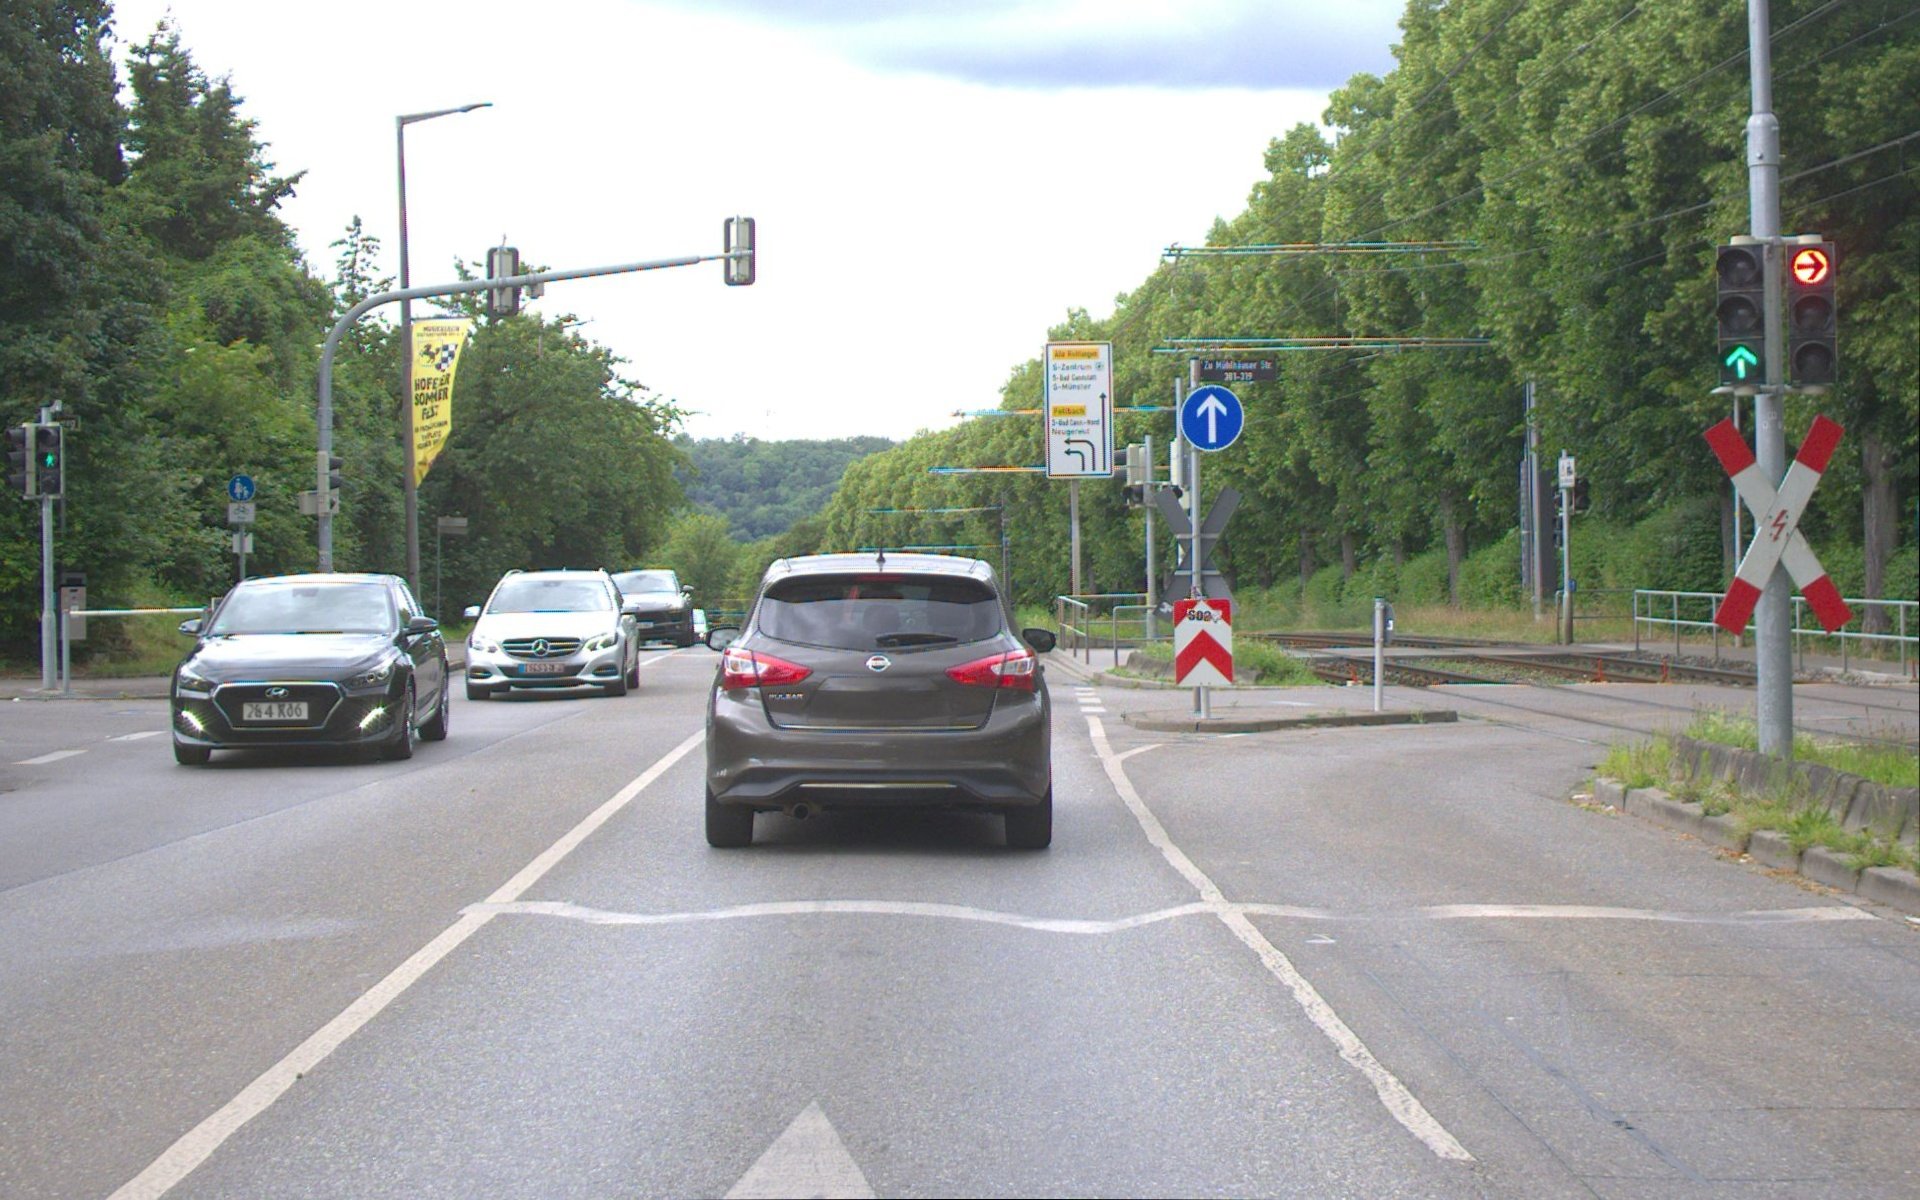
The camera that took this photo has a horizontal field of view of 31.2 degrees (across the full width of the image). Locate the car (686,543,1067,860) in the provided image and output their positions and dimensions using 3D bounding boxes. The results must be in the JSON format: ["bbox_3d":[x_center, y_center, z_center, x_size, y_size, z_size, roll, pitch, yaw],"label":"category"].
[{"bbox_3d":[-0.426,0.458,19.020,1.835,1.514,4.483,1,1,0],"label":"car"}]

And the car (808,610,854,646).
[{"bbox_3d":[-5.091,1.089,135.044,1.741,1.305,4.001,2,1,-2],"label":"car"}]

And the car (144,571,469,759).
[{"bbox_3d":[-5.123,0.461,27.458,1.812,1.368,4.160,0,1,0],"label":"car"}]

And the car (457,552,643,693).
[{"bbox_3d":[-4.853,0.216,41.312,1.818,1.561,5.206,1,1,-3],"label":"car"}]

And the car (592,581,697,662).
[{"bbox_3d":[-6.387,0.441,69.918,1.901,1.569,4.483,1,0,-3],"label":"car"}]

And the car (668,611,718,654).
[{"bbox_3d":[-10.662,1.287,137.467,1.785,1.690,4.000,-1,0,-2],"label":"car"}]

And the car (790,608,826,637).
[{"bbox_3d":[-7.568,1.125,171.628,1.741,1.305,4.001,2,1,-2],"label":"car"}]

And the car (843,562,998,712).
[{"bbox_3d":[-0.419,0.358,36.892,1.538,1.473,3.764,-1,1,0],"label":"car"}]
